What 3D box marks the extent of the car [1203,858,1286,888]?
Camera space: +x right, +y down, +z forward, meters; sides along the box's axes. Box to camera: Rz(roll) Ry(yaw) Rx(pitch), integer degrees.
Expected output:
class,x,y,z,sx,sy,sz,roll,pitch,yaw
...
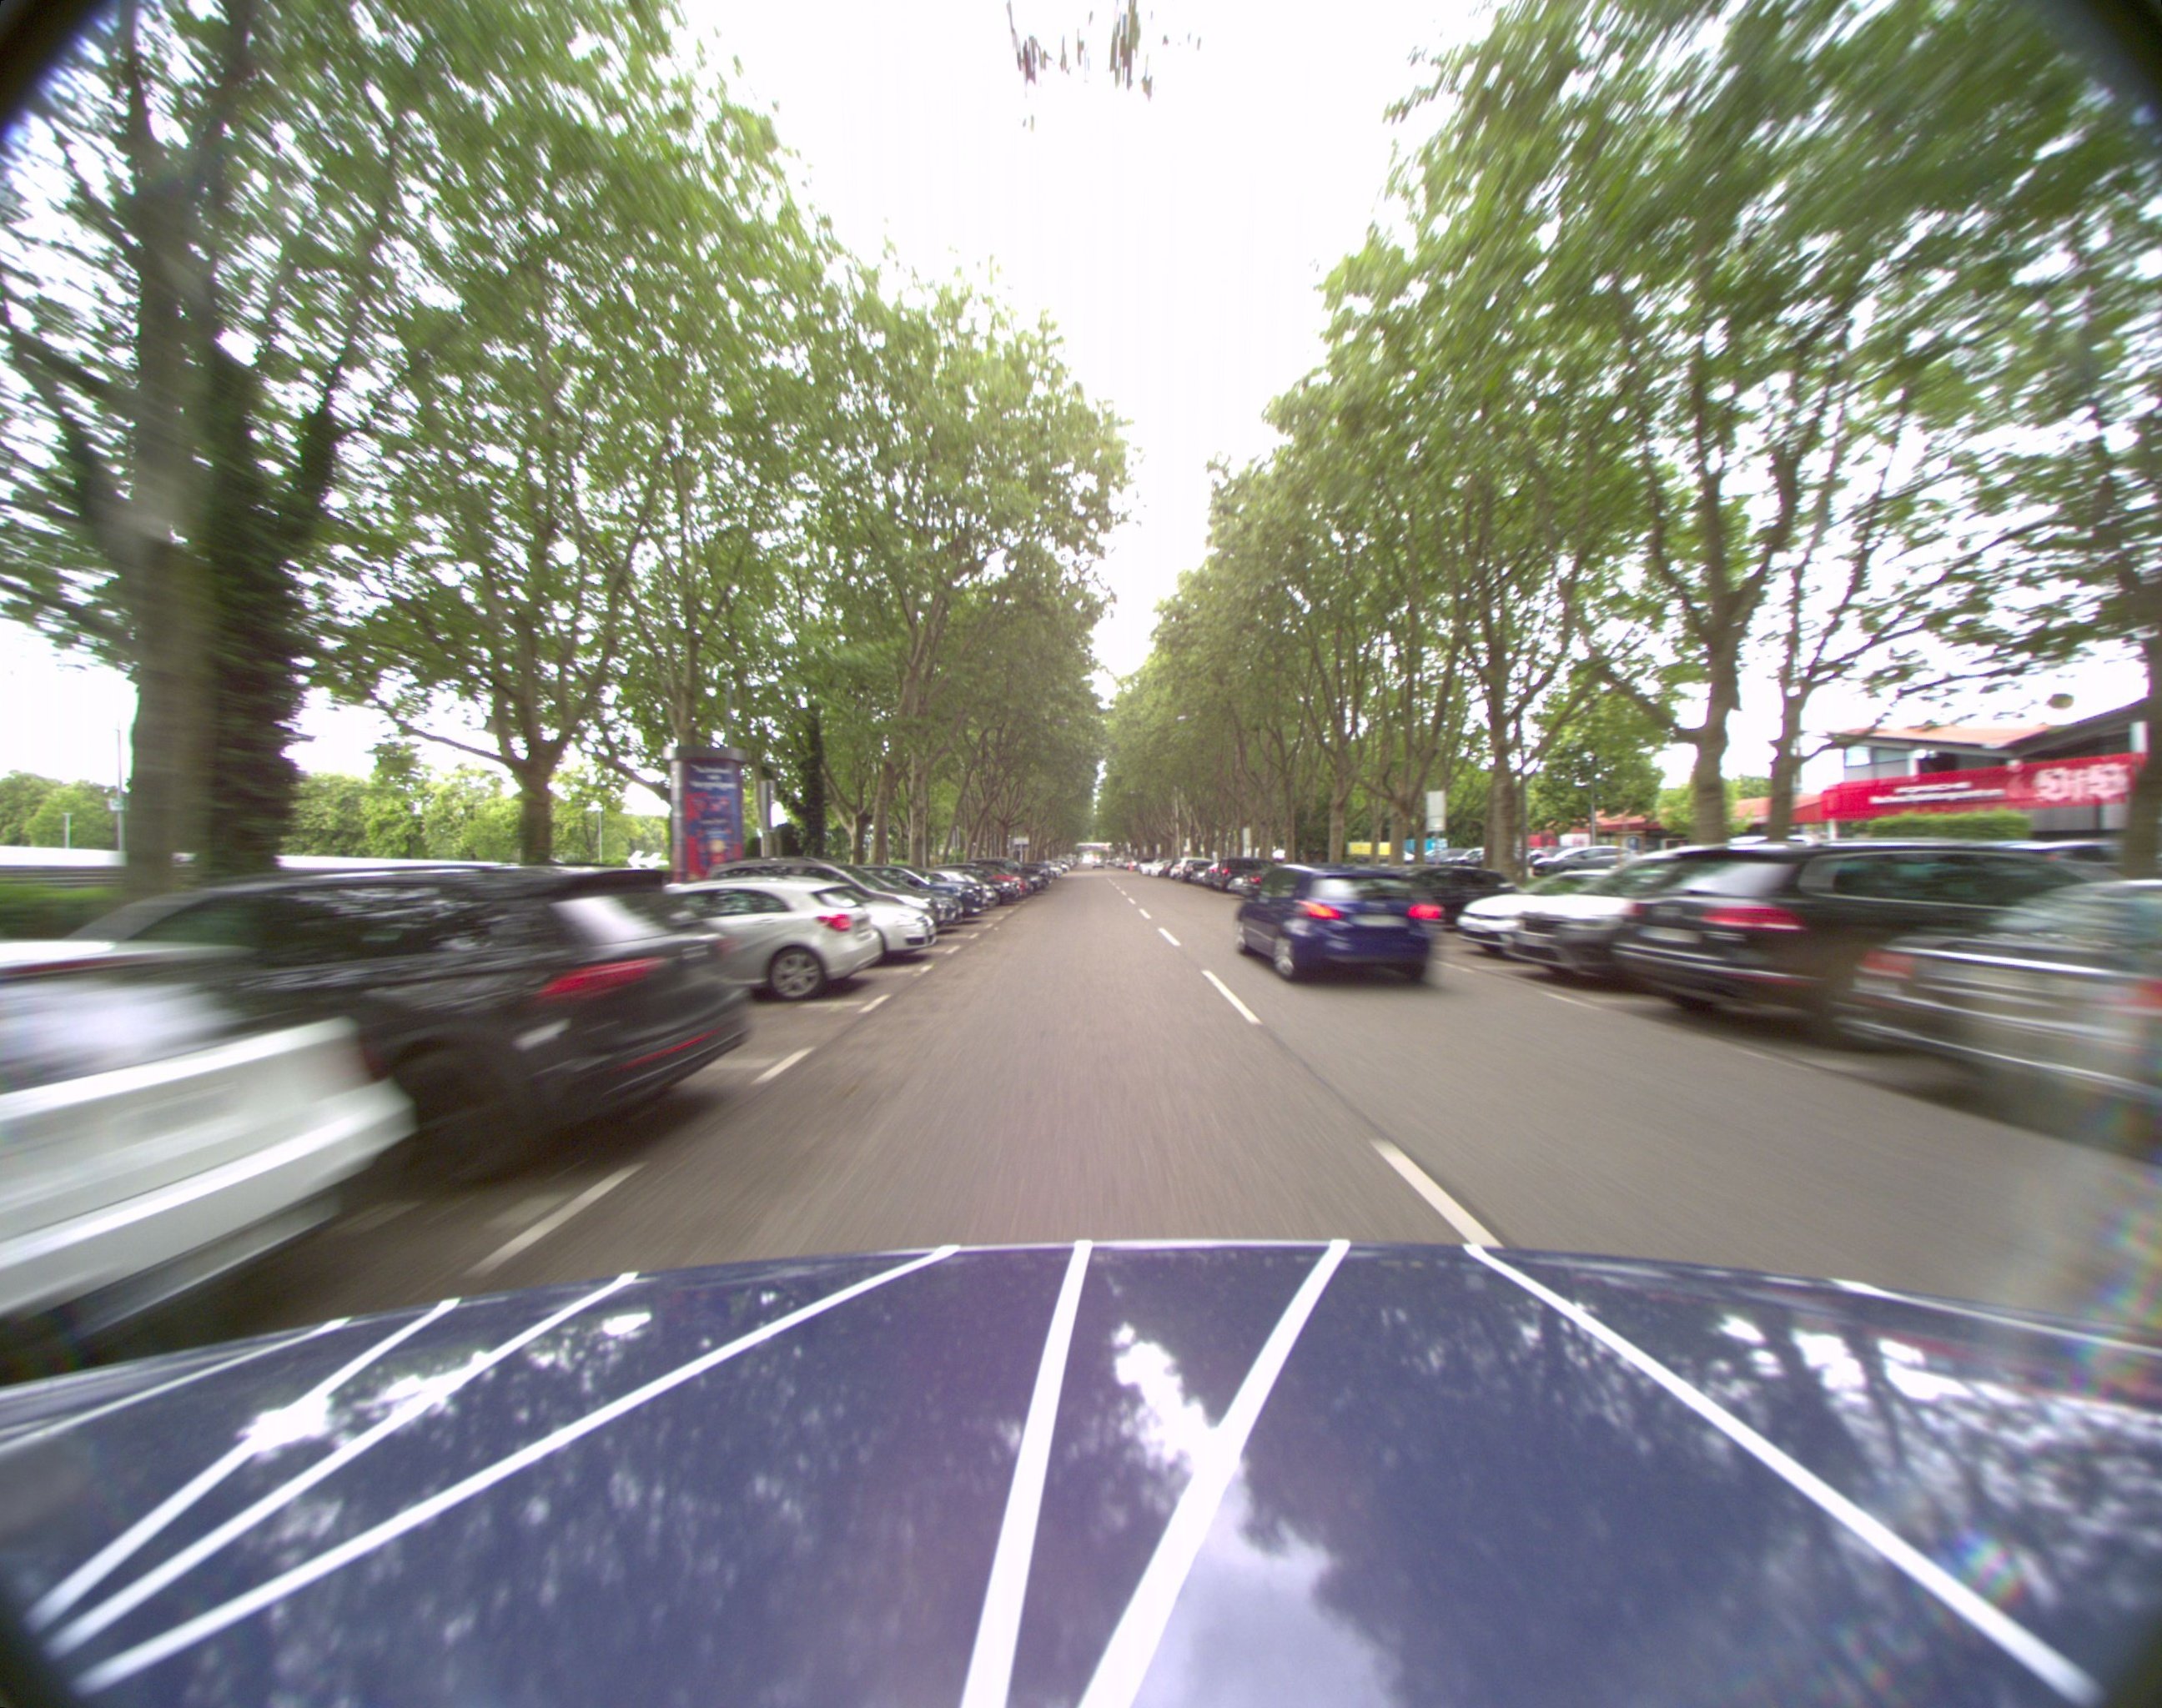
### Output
class,x,y,z,sx,sy,sz,roll,pitch,yaw
car,8.357,0.968,39.110,4.001,1.477,1.704,1,0,5

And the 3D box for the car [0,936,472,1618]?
class,x,y,z,sx,sy,sz,roll,pitch,yaw
car,-4.717,1.142,2.135,4.357,1.447,1.949,-2,0,-1

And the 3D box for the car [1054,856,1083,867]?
class,x,y,z,sx,sy,sz,roll,pitch,yaw
car,-2.159,1.302,131.679,4.674,1.740,2.001,-3,0,5

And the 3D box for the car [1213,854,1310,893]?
class,x,y,z,sx,sy,sz,roll,pitch,yaw
car,8.125,0.862,34.436,3.941,1.698,1.752,1,0,-1

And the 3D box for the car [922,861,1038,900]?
class,x,y,z,sx,sy,sz,roll,pitch,yaw
car,-4.201,1.101,32.049,4.506,1.411,1.829,-2,0,2

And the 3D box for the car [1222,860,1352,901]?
class,x,y,z,sx,sy,sz,roll,pitch,yaw
car,7.827,1.003,29.119,4.475,1.473,1.703,1,0,-1

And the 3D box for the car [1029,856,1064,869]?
class,x,y,z,sx,sy,sz,roll,pitch,yaw
car,-4.310,1.118,96.075,4.383,1.469,1.999,-2,1,-1

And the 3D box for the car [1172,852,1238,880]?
class,x,y,z,sx,sy,sz,roll,pitch,yaw
car,8.052,0.782,49.506,3.996,1.672,1.856,-2,1,2

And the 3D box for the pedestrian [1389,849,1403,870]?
class,x,y,z,sx,sy,sz,roll,pitch,yaw
pedestrian,27.769,0.465,67.043,0.819,1.790,0.918,-3,1,1

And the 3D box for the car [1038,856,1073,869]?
class,x,y,z,sx,sy,sz,roll,pitch,yaw
car,-3.630,1.205,109.478,4.673,1.514,2.001,-3,0,6

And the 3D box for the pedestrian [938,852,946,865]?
class,x,y,z,sx,sy,sz,roll,pitch,yaw
pedestrian,-16.272,0.508,89.111,0.724,1.558,0.698,-2,1,7

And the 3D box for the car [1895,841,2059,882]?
class,x,y,z,sx,sy,sz,roll,pitch,yaw
car,34.291,0.271,29.155,3.997,1.419,2.000,-2,1,-1

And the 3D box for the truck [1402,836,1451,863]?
class,x,y,z,sx,sy,sz,roll,pitch,yaw
truck,35.900,-0.446,79.077,3.997,2.701,2.376,-2,1,0

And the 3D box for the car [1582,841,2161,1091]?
class,x,y,z,sx,sy,sz,roll,pitch,yaw
car,7.307,0.843,6.766,4.328,1.785,2.036,-2,1,1

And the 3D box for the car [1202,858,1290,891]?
class,x,y,z,sx,sy,sz,roll,pitch,yaw
car,7.951,0.965,36.880,3.940,1.507,1.728,1,0,2

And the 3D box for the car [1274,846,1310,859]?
class,x,y,z,sx,sy,sz,roll,pitch,yaw
car,35.664,-0.252,128.406,5.466,2.009,2.393,1,0,-2

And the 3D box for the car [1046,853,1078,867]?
class,x,y,z,sx,sy,sz,roll,pitch,yaw
car,-2.914,0.971,116.723,4.674,1.891,2.001,-3,0,5

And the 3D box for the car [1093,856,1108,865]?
class,x,y,z,sx,sy,sz,roll,pitch,yaw
car,3.105,0.997,122.687,1.999,1.375,4.677,-3,0,-4

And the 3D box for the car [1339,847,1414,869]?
class,x,y,z,sx,sy,sz,roll,pitch,yaw
car,24.247,0.323,62.502,5.362,1.587,2.094,-2,1,0

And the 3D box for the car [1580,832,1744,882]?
class,x,y,z,sx,sy,sz,roll,pitch,yaw
car,23.306,0.096,30.622,4.954,1.786,2.182,-2,1,-2

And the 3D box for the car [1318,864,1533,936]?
class,x,y,z,sx,sy,sz,roll,pitch,yaw
car,7.544,0.975,16.952,3.987,1.412,1.756,1,0,4

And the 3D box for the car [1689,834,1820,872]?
class,x,y,z,sx,sy,sz,roll,pitch,yaw
car,34.845,-0.045,39.417,4.954,1.786,2.182,-2,1,-2

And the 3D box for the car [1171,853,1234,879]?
class,x,y,z,sx,sy,sz,roll,pitch,yaw
car,8.275,0.811,51.928,3.996,1.672,1.856,-2,1,2

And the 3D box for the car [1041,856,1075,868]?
class,x,y,z,sx,sy,sz,roll,pitch,yaw
car,-3.375,1.158,111.772,4.674,1.514,2.001,-3,0,5

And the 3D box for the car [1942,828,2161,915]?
class,x,y,z,sx,sy,sz,roll,pitch,yaw
car,23.661,0.365,17.960,4.332,1.850,2.028,-2,1,0

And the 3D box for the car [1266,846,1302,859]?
class,x,y,z,sx,sy,sz,roll,pitch,yaw
car,35.423,-0.273,132.719,5.466,2.009,2.393,-2,1,-1

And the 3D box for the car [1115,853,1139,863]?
class,x,y,z,sx,sy,sz,roll,pitch,yaw
car,8.853,0.785,146.515,4.491,1.740,2.001,-3,0,5

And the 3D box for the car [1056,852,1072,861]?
class,x,y,z,sx,sy,sz,roll,pitch,yaw
car,-4.342,0.579,191.706,3.997,2.273,2.000,-2,1,1

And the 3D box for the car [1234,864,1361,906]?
class,x,y,z,sx,sy,sz,roll,pitch,yaw
car,7.484,1.058,26.483,3.941,1.390,1.703,1,0,-1

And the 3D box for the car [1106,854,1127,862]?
class,x,y,z,sx,sy,sz,roll,pitch,yaw
car,8.724,0.973,186.953,4.919,1.816,2.000,-2,-2,-2

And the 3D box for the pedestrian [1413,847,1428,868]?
class,x,y,z,sx,sy,sz,roll,pitch,yaw
pedestrian,29.649,0.332,66.342,0.944,1.791,0.917,-2,3,1

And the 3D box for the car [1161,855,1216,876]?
class,x,y,z,sx,sy,sz,roll,pitch,yaw
car,8.326,0.904,59.129,3.996,1.445,1.856,-2,1,2

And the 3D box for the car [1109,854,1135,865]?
class,x,y,z,sx,sy,sz,roll,pitch,yaw
car,7.474,0.912,136.854,4.491,1.740,2.001,-3,0,5

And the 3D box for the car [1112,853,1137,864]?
class,x,y,z,sx,sy,sz,roll,pitch,yaw
car,8.218,0.836,143.075,4.491,1.740,2.001,-3,0,5

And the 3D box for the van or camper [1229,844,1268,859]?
class,x,y,z,sx,sy,sz,roll,pitch,yaw
van or camper,24.860,-0.357,113.006,5.299,2.087,2.244,-2,1,-2

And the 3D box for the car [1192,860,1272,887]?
class,x,y,z,sx,sy,sz,roll,pitch,yaw
car,8.212,1.060,41.606,4.003,1.412,1.703,1,0,-1

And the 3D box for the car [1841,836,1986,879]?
class,x,y,z,sx,sy,sz,roll,pitch,yaw
car,34.527,0.118,31.590,3.998,1.616,1.999,-2,1,-3

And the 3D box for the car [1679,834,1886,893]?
class,x,y,z,sx,sy,sz,roll,pitch,yaw
car,23.214,0.300,25.300,4.954,1.786,2.183,-1,0,-2

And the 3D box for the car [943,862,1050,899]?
class,x,y,z,sx,sy,sz,roll,pitch,yaw
car,-3.741,1.152,34.186,4.506,1.420,1.932,-2,0,1

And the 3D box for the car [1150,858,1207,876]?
class,x,y,z,sx,sy,sz,roll,pitch,yaw
car,8.195,1.070,64.159,4.420,1.435,2.046,1,0,-4

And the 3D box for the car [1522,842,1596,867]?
class,x,y,z,sx,sy,sz,roll,pitch,yaw
car,33.687,0.043,53.576,3.998,1.617,1.999,-2,1,-4
